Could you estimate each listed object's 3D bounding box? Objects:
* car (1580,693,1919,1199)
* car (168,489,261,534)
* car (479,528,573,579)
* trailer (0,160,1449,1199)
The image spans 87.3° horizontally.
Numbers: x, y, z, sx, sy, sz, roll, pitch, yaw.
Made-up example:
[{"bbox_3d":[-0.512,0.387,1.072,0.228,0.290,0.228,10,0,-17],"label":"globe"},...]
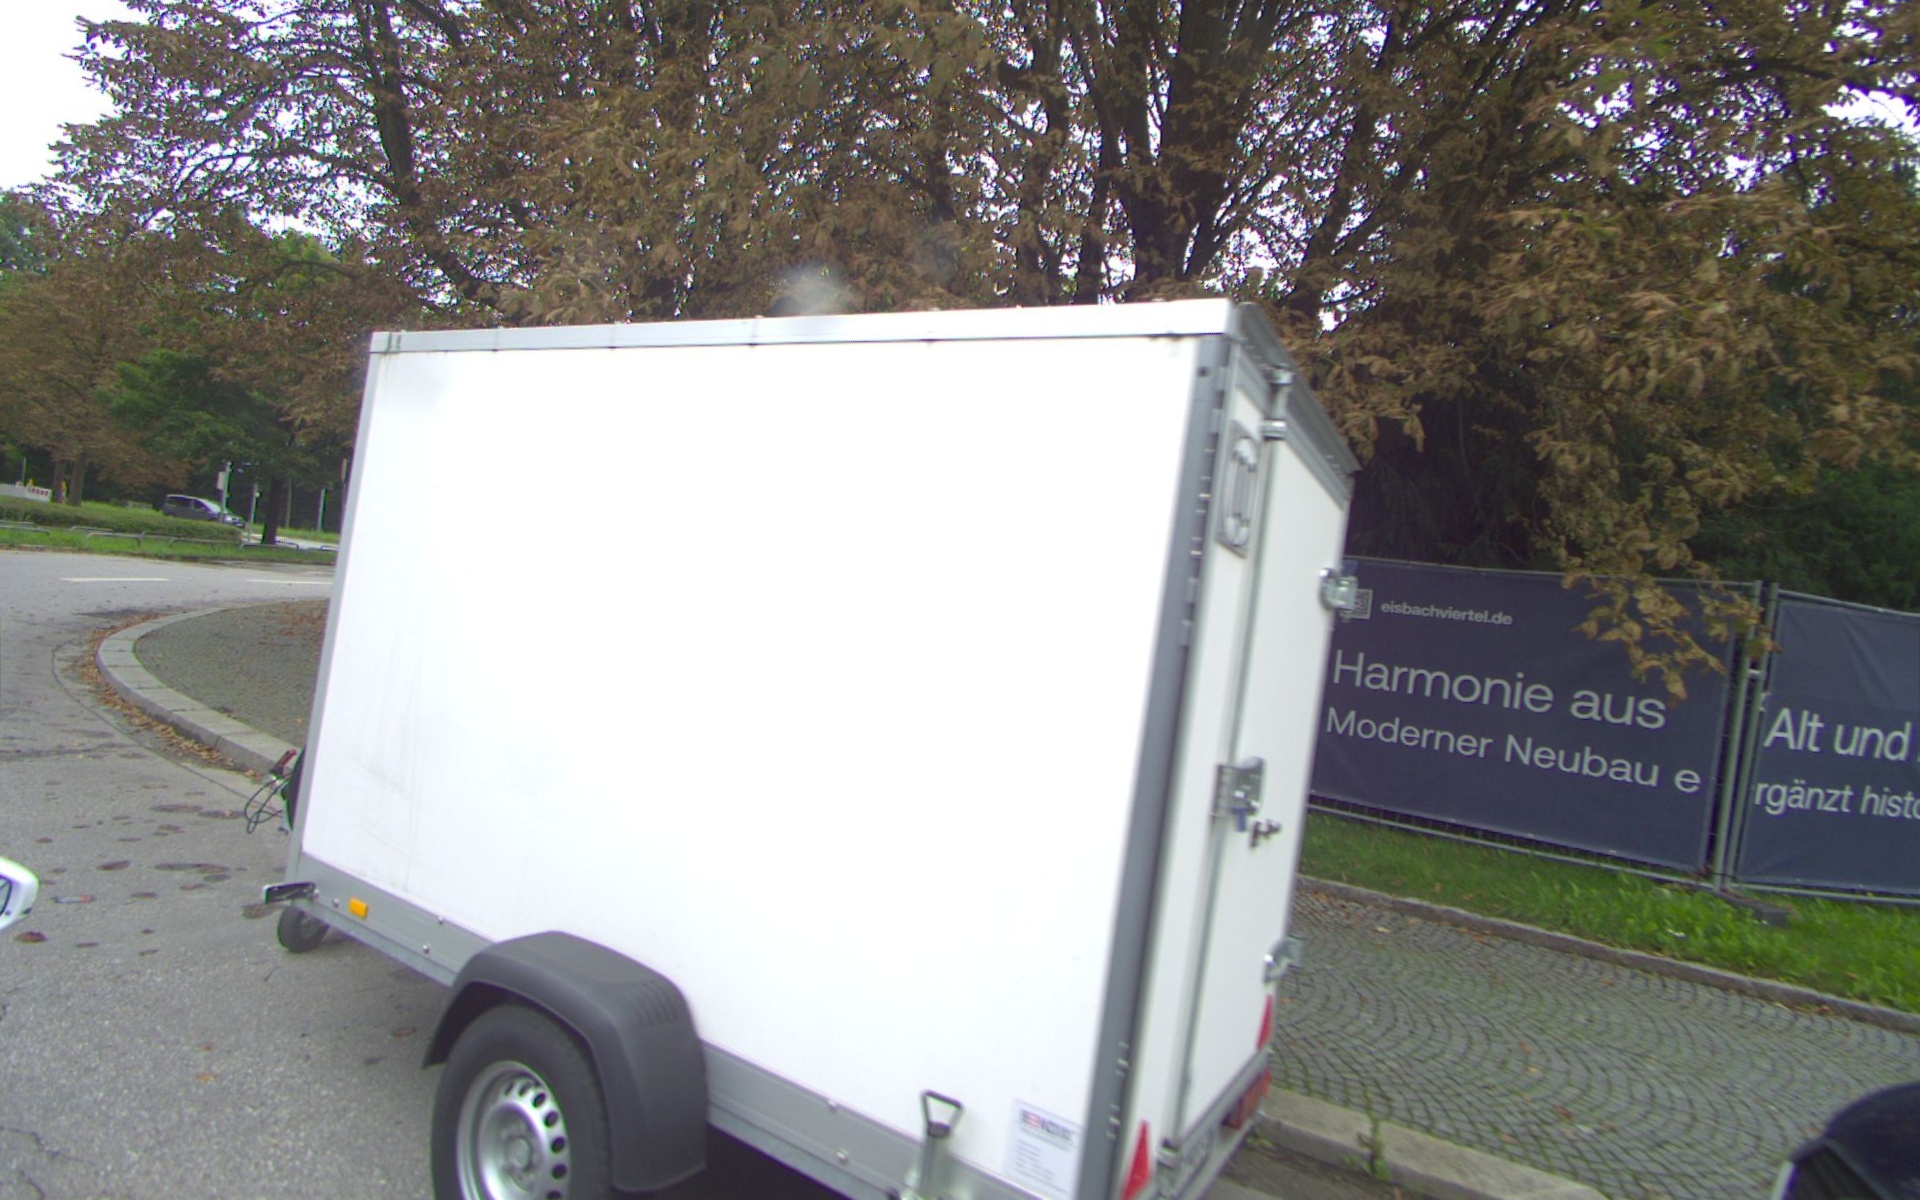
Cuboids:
[{"bbox_3d":[3.388,1.188,1.073,4.249,1.455,1.876,7,1,22],"label":"car"},{"bbox_3d":[-45.288,-5.383,61.175,3.927,2.038,1.999,7,0,-2],"label":"car"},{"bbox_3d":[-19.476,-2.050,45.312,1.962,1.771,4.126,7,0,6],"label":"car"},{"bbox_3d":[-1.199,0.292,3.374,4.755,2.038,1.810,6,0,33],"label":"trailer"}]
